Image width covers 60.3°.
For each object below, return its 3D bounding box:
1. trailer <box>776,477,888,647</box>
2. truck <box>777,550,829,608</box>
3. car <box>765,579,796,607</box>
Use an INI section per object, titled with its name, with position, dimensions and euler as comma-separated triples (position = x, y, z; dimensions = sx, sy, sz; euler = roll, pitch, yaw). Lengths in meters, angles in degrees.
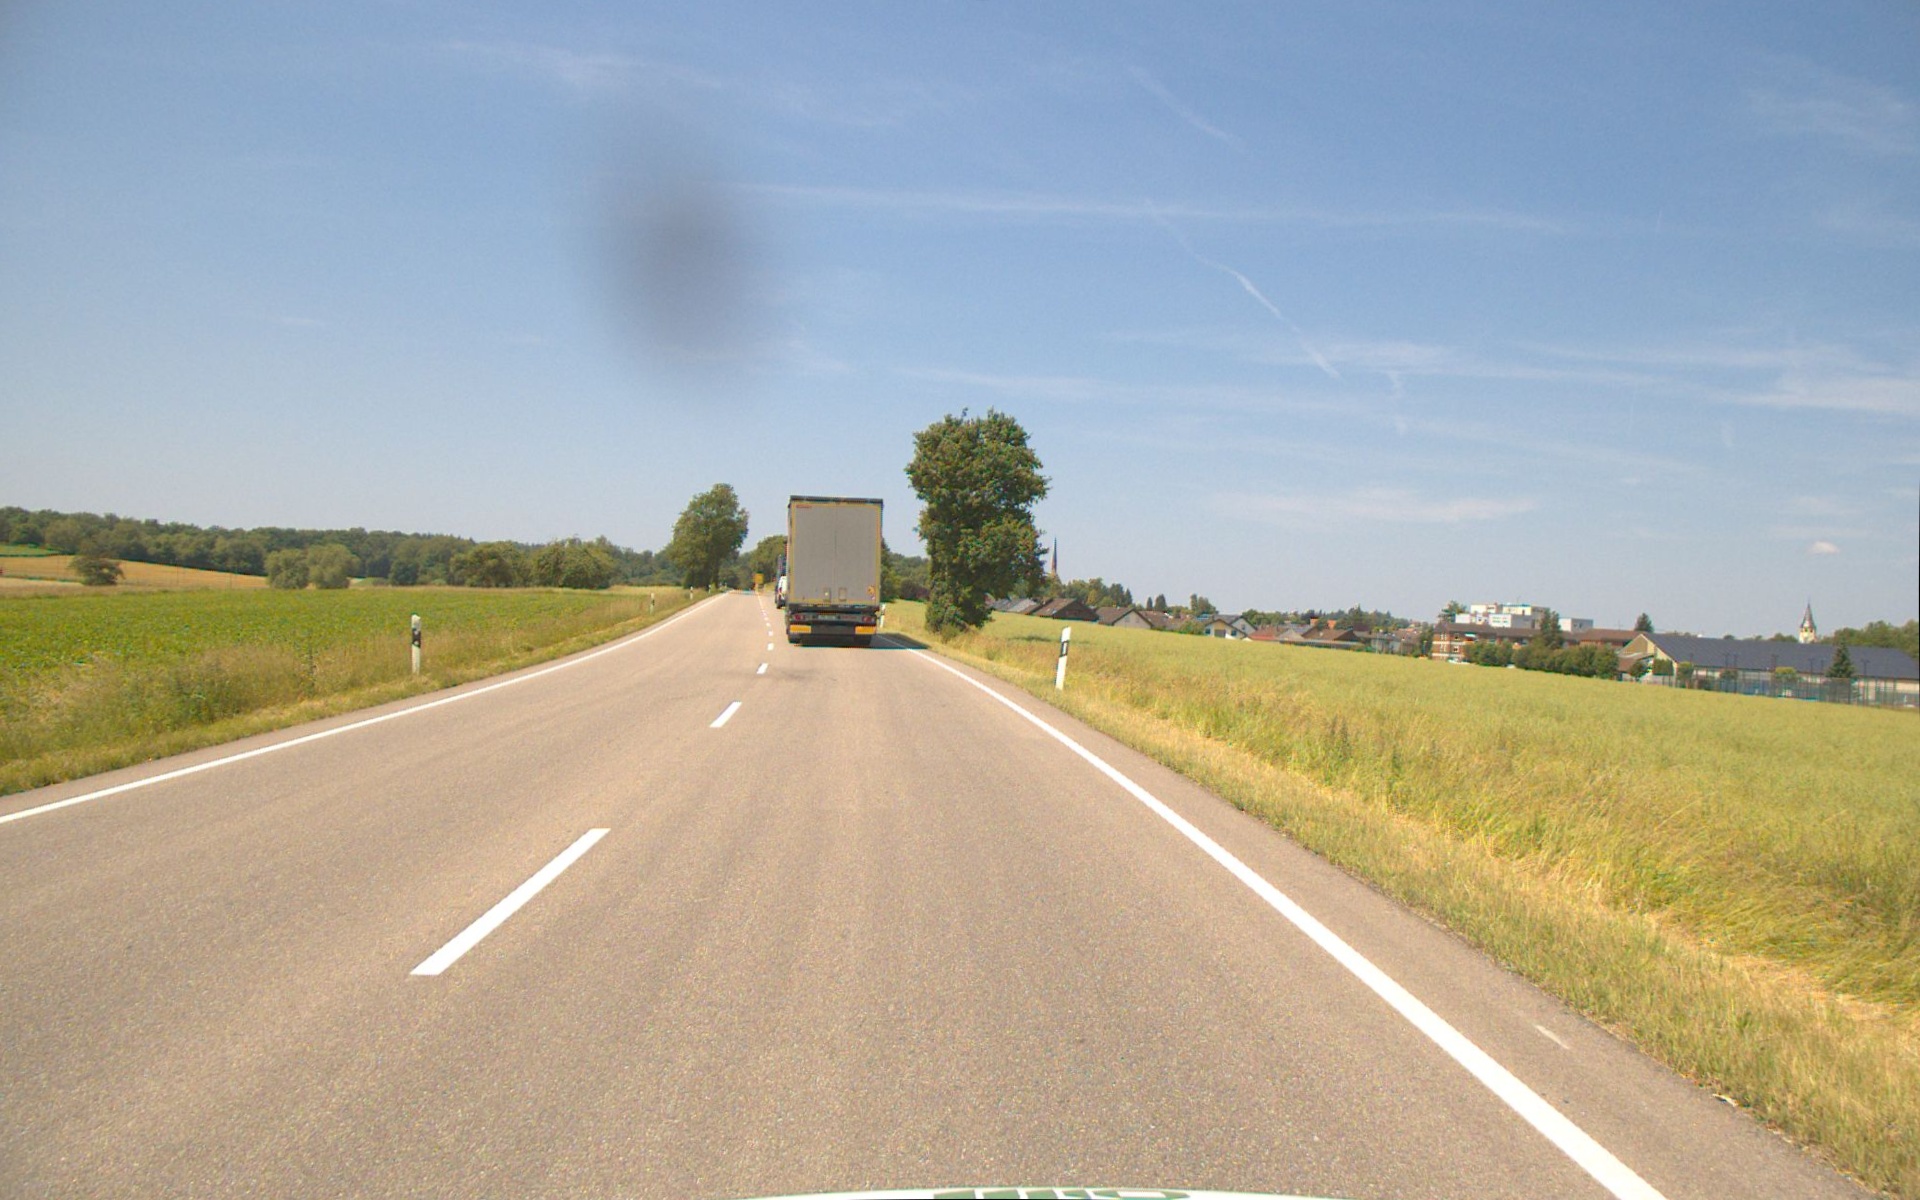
[trailer]
position = -4.161, -1.069, 50.906
dimensions = 2.812, 4.477, 13.472
euler = 1, 0, -7
[truck]
position = -13.203, -1.696, 140.916
dimensions = 3.478, 4.469, 18.111
euler = 2, 0, -3
[car]
position = -12.589, -0.515, 116.253
dimensions = 1.690, 1.905, 4.000
euler = 1, 0, 0
